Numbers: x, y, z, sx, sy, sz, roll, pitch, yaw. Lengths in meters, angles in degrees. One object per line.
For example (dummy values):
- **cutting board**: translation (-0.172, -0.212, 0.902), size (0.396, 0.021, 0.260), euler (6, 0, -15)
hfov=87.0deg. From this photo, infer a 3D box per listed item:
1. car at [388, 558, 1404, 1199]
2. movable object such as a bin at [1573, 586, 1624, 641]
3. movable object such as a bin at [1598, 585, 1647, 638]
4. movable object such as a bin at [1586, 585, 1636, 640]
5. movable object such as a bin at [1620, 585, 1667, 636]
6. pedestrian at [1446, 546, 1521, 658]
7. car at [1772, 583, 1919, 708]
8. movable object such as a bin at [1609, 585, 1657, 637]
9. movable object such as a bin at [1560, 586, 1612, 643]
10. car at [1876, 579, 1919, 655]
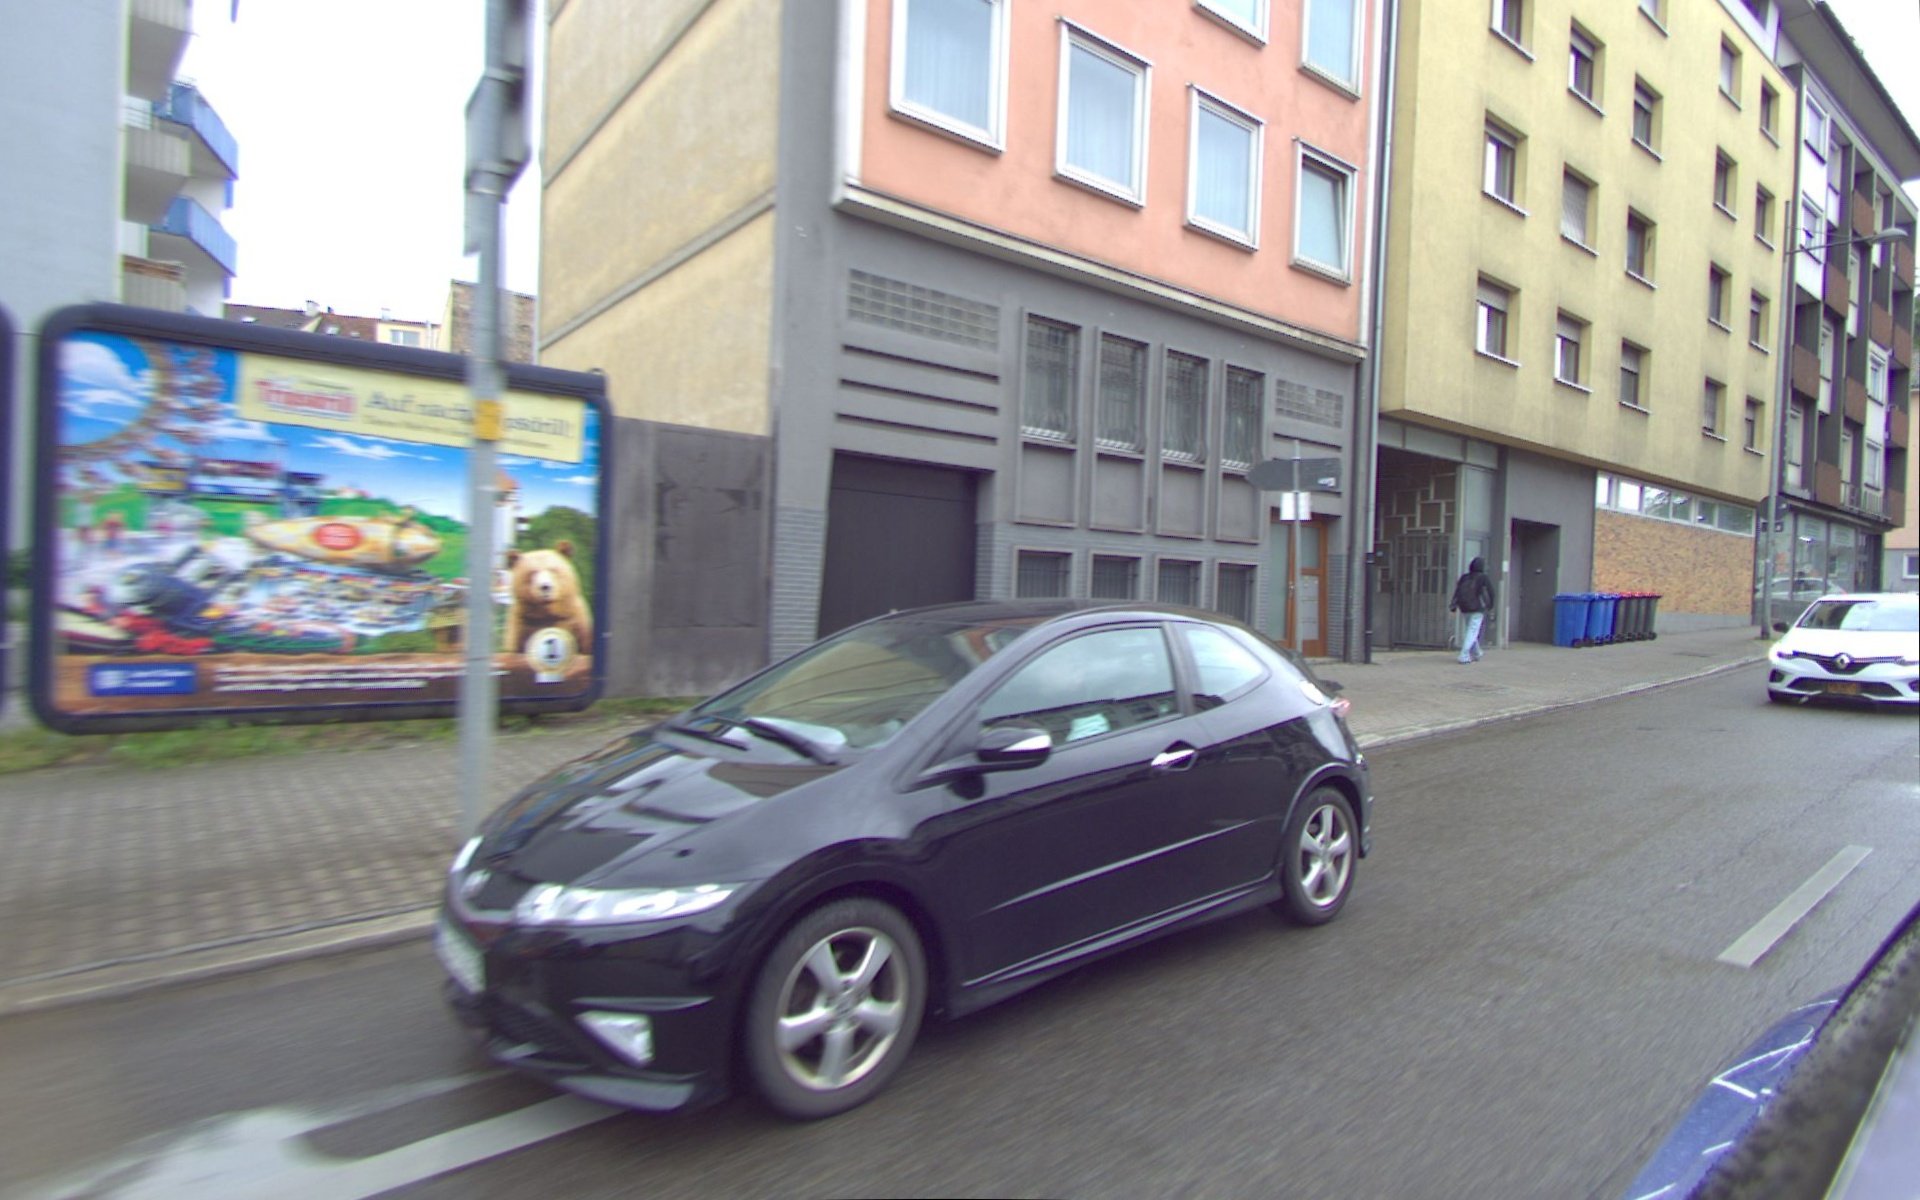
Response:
- **car**: translation (0.027, 0.649, 4.239), size (3.984, 1.515, 1.787), euler (0, 0, -40)
- **movable object such as a bin**: translation (13.115, 0.267, 20.776), size (0.656, 1.090, 0.682), euler (0, 2, -39)
- **movable object such as a bin**: translation (14.149, 0.229, 21.631), size (0.656, 1.090, 0.682), euler (0, 2, -39)
- **movable object such as a bin**: translation (13.632, 0.249, 21.206), size (0.656, 1.090, 0.682), euler (0, 2, -39)
- **movable object such as a bin**: translation (15.192, 0.220, 22.489), size (0.656, 1.090, 0.682), euler (0, 2, -39)
- **pedestrian**: translation (8.755, 0.024, 16.929), size (1.074, 1.810, 0.675), euler (1, 1, -36)
- **car**: translation (12.407, 0.509, 13.501), size (3.929, 1.421, 1.680), euler (-1, 2, -39)
- **movable object such as a bin**: translation (14.675, 0.219, 22.056), size (0.656, 1.090, 0.682), euler (0, 2, -39)
- **movable object such as a bin**: translation (12.576, 0.281, 20.346), size (0.656, 1.090, 0.682), euler (0, 2, -39)
- **car**: translation (20.419, 0.317, 20.243), size (5.195, 1.404, 2.042), euler (-1, 4, -36)
